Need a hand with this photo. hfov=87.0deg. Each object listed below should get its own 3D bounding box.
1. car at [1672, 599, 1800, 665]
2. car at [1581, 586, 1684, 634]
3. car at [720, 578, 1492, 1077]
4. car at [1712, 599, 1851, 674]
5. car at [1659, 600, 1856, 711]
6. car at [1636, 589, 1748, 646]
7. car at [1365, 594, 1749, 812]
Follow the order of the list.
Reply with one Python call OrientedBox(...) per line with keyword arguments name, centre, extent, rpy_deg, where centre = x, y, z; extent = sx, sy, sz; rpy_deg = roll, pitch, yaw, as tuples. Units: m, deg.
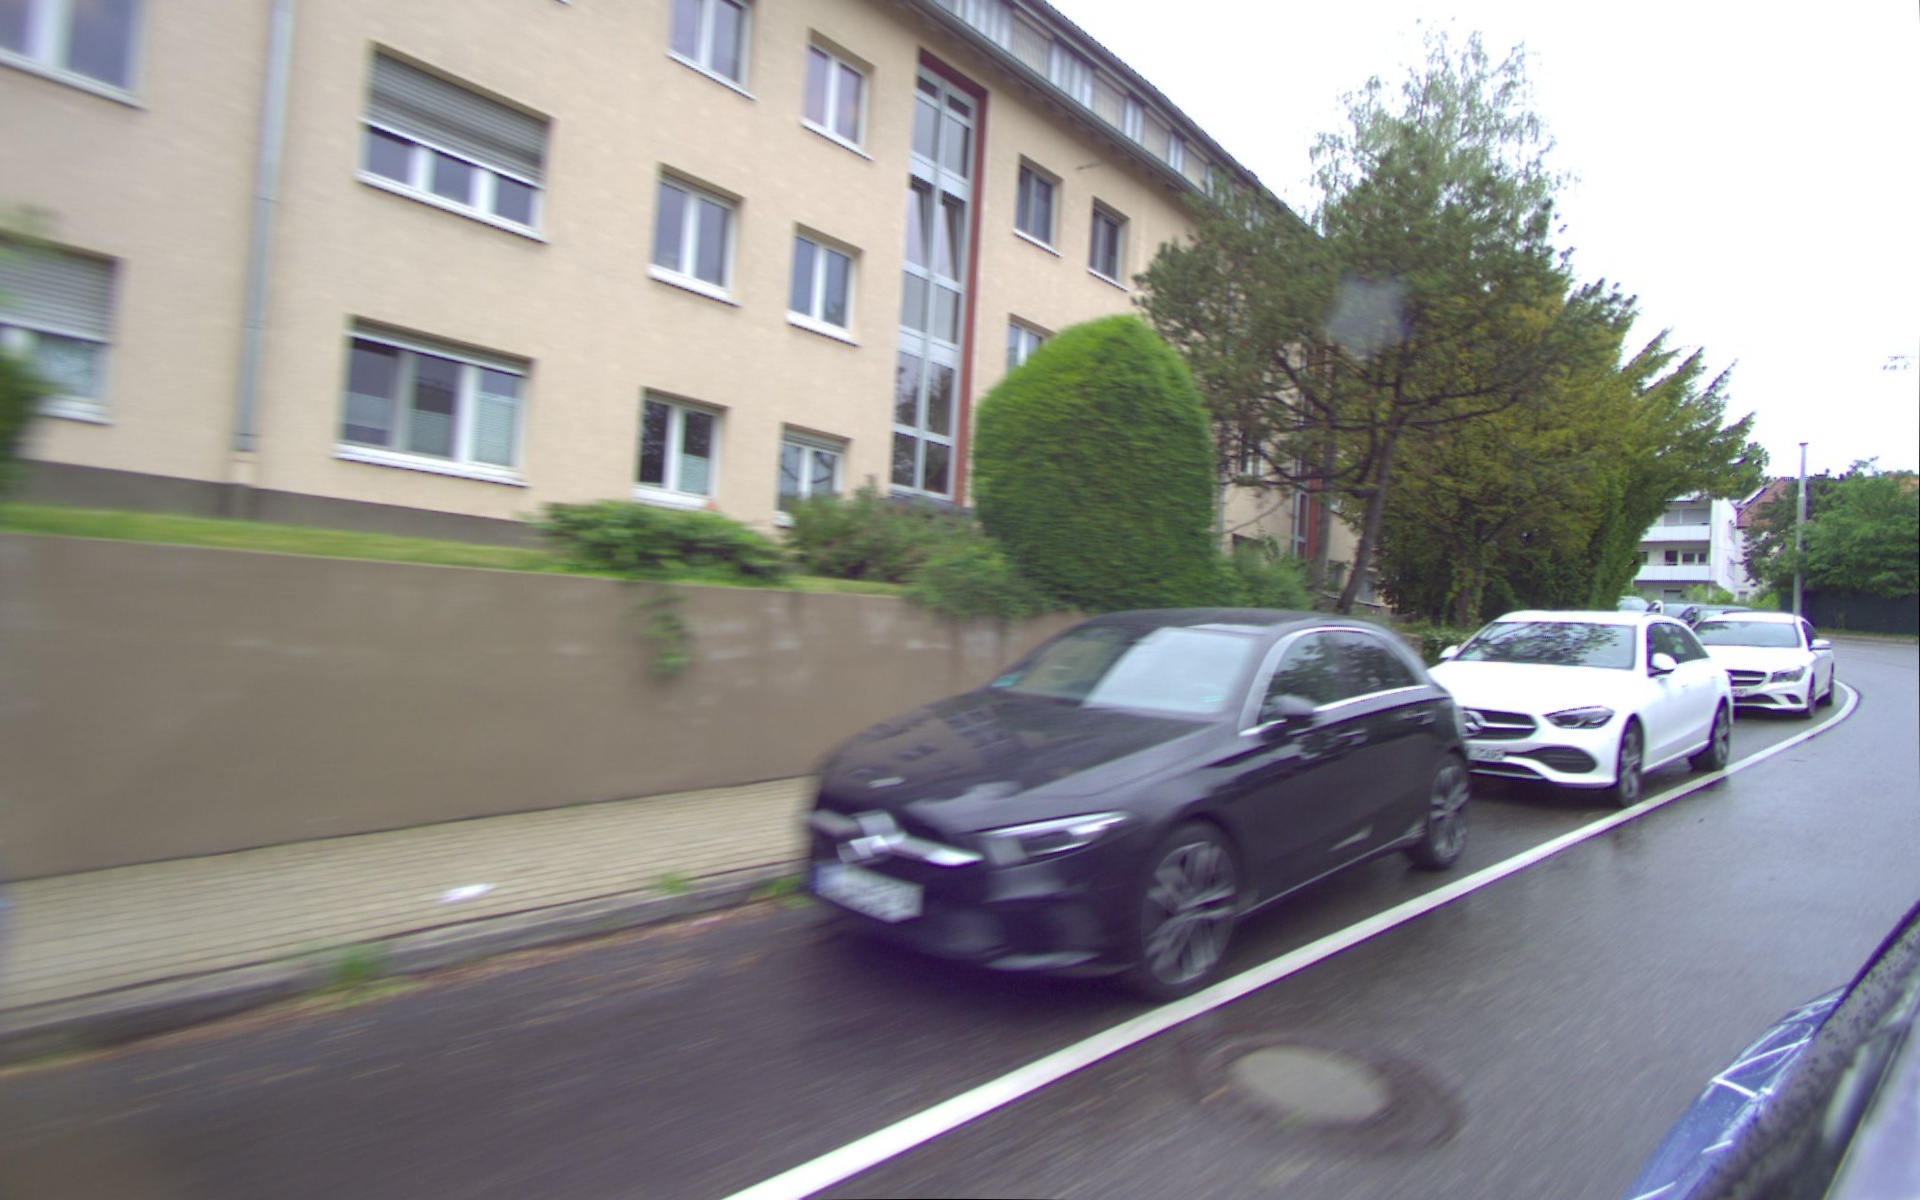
OrientedBox(name="car", centre=(20.602, 0.777, 27.057), extent=(1.796, 1.453, 4.489), rpy_deg=(4, 2, 27))
OrientedBox(name="car", centre=(23.857, 0.294, 36.069), extent=(1.696, 1.453, 4.051), rpy_deg=(5, 2, 14))
OrientedBox(name="car", centre=(1.074, 0.689, 5.109), extent=(1.690, 1.474, 4.184), rpy_deg=(2, 0, 45))
OrientedBox(name="car", centre=(18.164, 0.724, 22.587), extent=(1.800, 1.364, 4.566), rpy_deg=(4, 2, 32))
OrientedBox(name="car", centre=(12.262, 0.756, 15.444), extent=(4.493, 1.454, 1.780), rpy_deg=(1, -1, -44))
OrientedBox(name="car", centre=(22.339, 0.496, 31.030), extent=(1.667, 1.489, 3.715), rpy_deg=(5, 2, 19))
OrientedBox(name="car", centre=(5.488, 0.732, 9.069), extent=(4.181, 1.474, 1.809), rpy_deg=(1, 0, -42))
